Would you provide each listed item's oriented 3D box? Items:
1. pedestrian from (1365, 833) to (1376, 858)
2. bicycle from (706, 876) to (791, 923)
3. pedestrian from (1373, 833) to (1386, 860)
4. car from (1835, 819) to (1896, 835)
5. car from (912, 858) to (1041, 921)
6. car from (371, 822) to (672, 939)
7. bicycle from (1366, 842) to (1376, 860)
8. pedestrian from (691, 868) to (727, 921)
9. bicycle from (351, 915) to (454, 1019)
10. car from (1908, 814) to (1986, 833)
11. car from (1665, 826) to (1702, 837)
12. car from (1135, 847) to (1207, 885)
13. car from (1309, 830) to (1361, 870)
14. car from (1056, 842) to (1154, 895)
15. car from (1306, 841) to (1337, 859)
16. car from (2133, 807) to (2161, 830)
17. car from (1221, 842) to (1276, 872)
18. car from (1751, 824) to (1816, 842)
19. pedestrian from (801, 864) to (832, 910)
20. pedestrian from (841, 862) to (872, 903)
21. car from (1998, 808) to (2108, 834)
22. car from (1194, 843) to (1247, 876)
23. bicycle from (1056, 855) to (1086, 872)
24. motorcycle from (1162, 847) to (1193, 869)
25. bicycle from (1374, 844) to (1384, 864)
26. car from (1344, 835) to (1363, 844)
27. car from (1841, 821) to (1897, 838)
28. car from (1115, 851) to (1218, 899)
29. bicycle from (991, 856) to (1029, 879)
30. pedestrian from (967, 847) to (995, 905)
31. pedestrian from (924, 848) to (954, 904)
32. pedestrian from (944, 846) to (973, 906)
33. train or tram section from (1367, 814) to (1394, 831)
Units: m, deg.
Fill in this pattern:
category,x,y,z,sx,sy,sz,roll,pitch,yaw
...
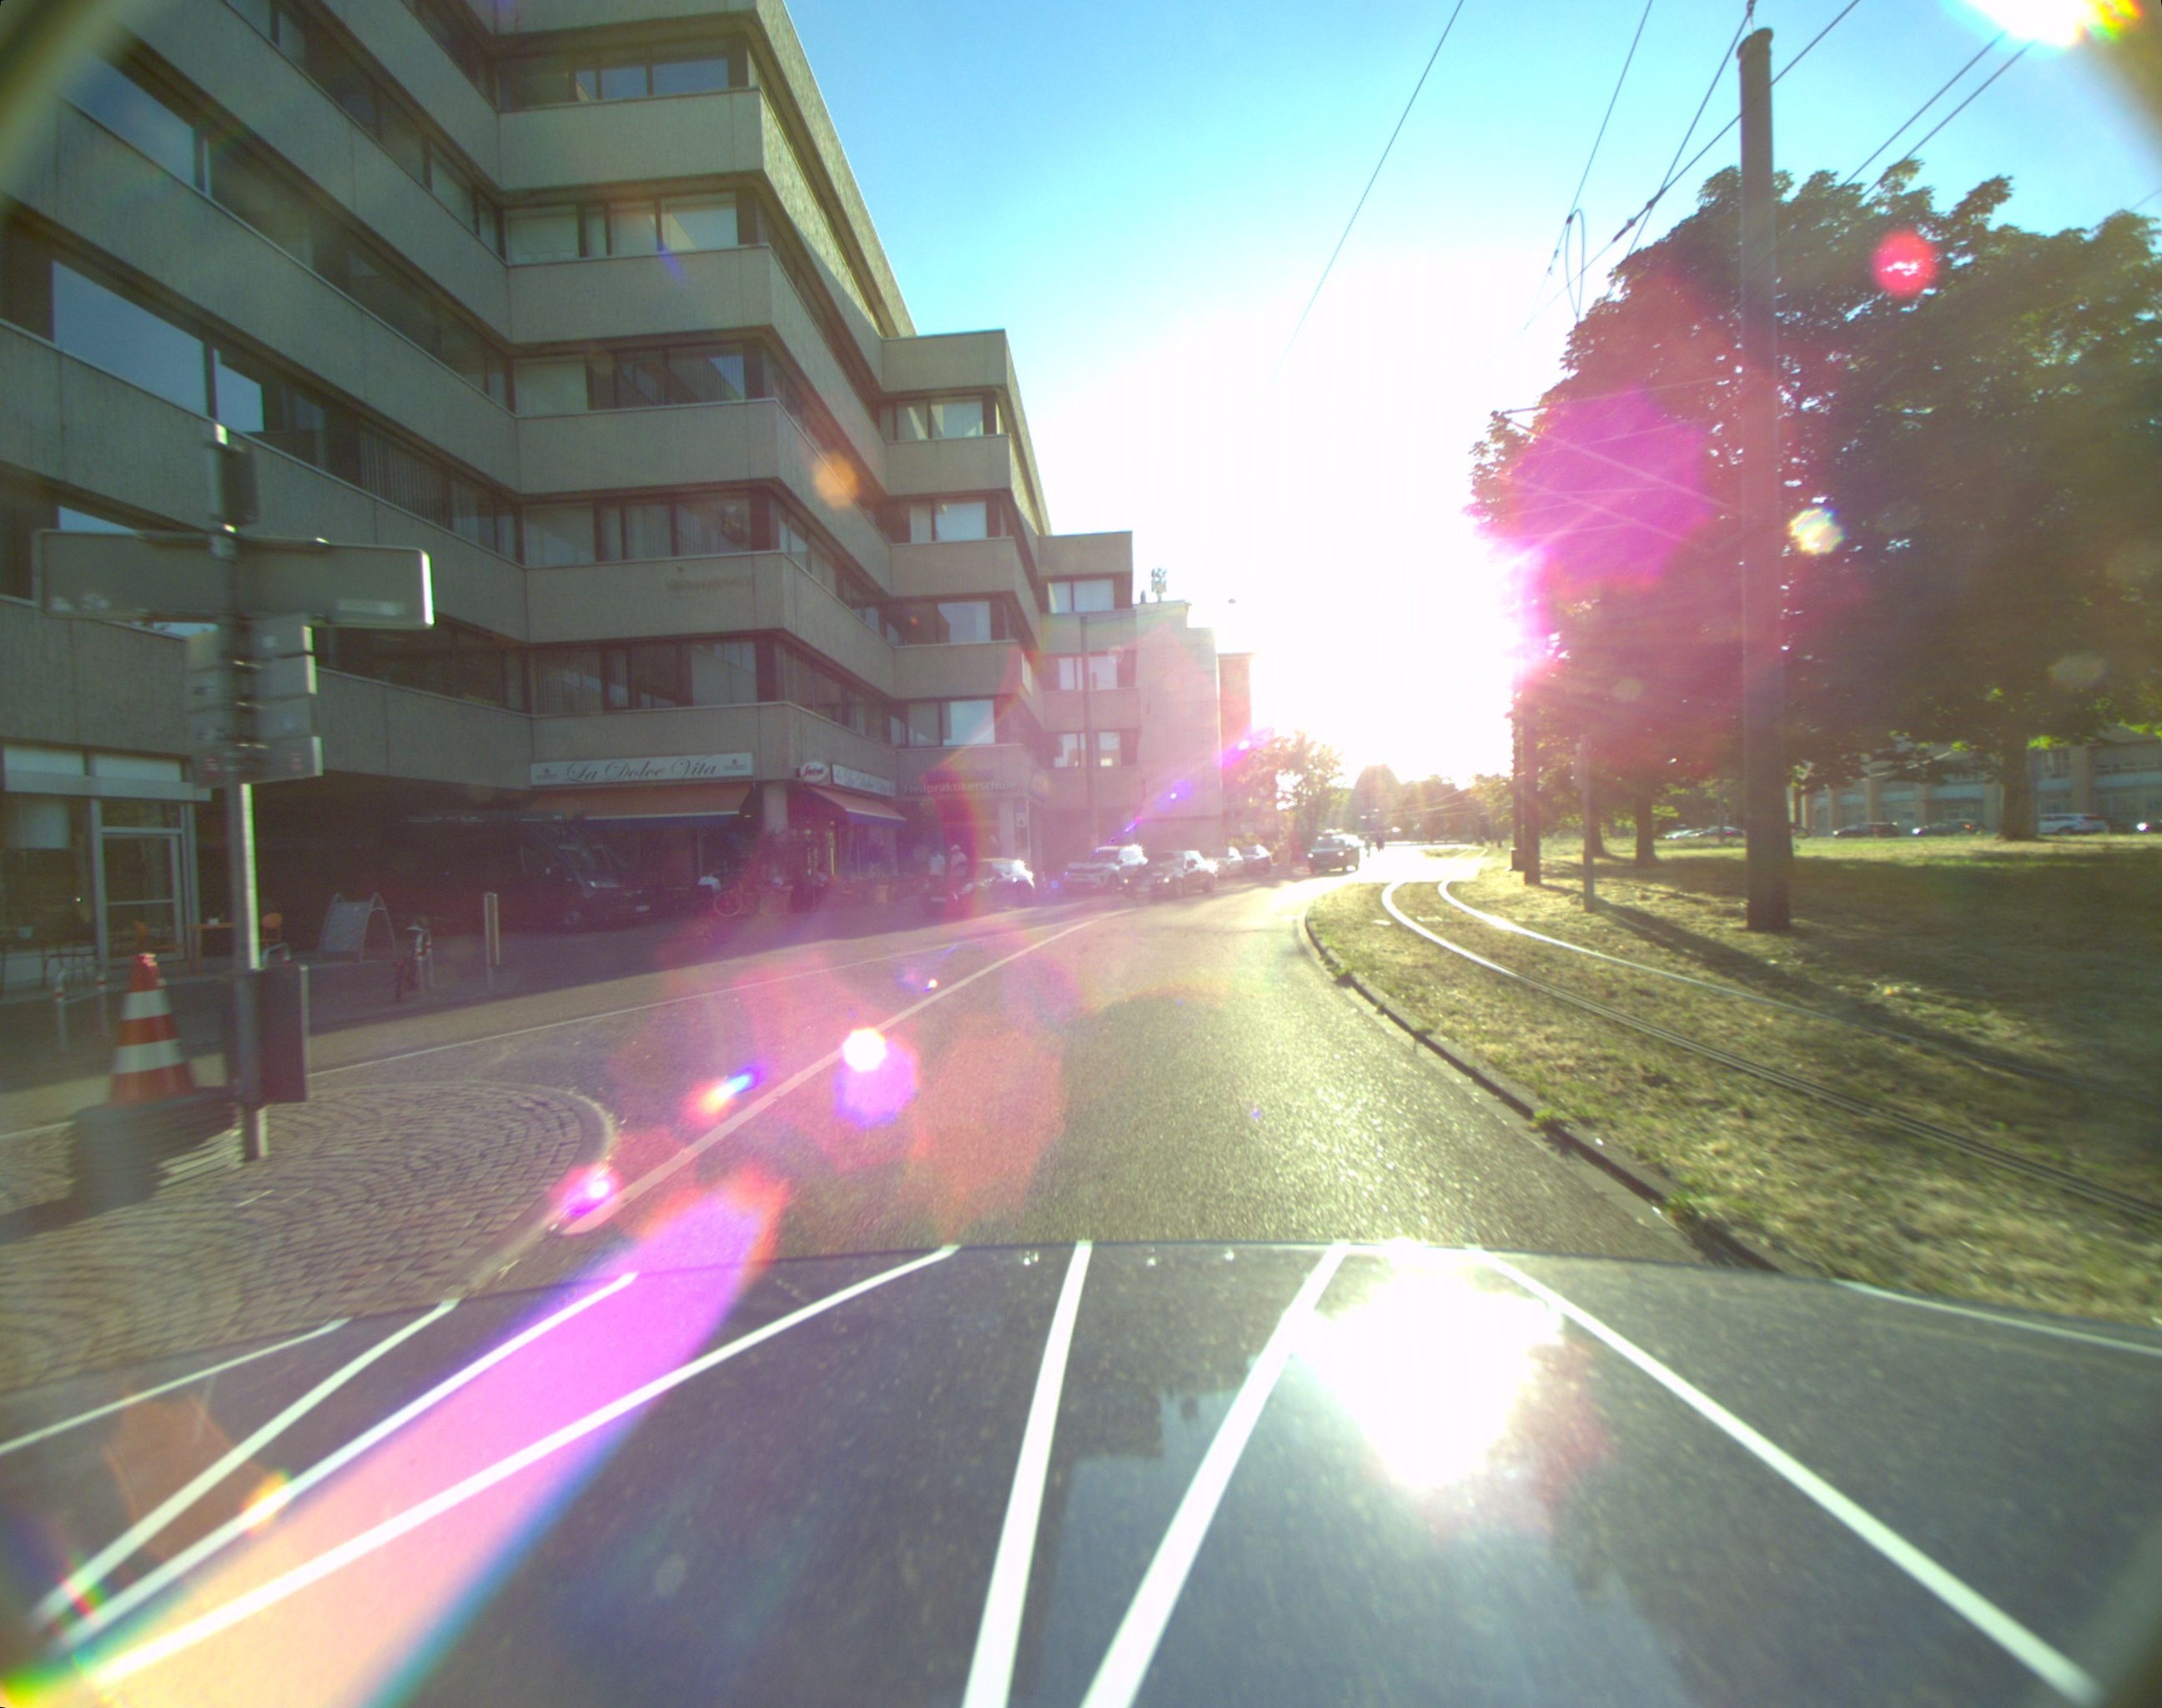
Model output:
category,x,y,z,sx,sy,sz,roll,pitch,yaw
pedestrian,20.438,-0.614,53.696,0.639,1.640,0.844,-3,3,20
bicycle,-8.209,1.116,18.813,1.816,1.113,0.534,0,2,-10
pedestrian,19.081,-0.477,48.546,0.678,1.639,0.903,-3,1,21
car,65.295,-2.214,63.286,1.523,1.147,3.599,-2,0,4
car,-2.779,0.904,21.053,1.663,1.433,3.829,1,2,26
car,-12.588,0.555,17.344,5.328,2.429,2.092,-1,2,4
bicycle,20.457,-0.236,53.578,0.529,1.152,1.851,-4,2,18
pedestrian,-9.425,1.015,19.275,0.553,1.274,0.653,-1,2,2
bicycle,-8.977,1.448,10.117,0.613,1.113,1.603,-1,2,-27
car,64.703,-2.269,56.870,1.650,1.274,3.740,-2,0,3
car,89.295,-3.293,112.648,3.995,1.412,1.903,-2,1,6
car,3.917,0.464,32.604,1.663,1.433,3.861,1,2,30
car,13.791,-0.284,41.077,1.916,1.978,4.955,-2,1,27
car,1.000,0.454,28.114,1.868,1.704,4.512,1,2,27
car,20.615,-0.394,65.016,1.729,1.464,3.906,1,2,30
car,67.211,-2.250,46.165,1.554,1.346,3.520,-3,0,-3
car,9.339,0.129,42.227,1.783,1.548,4.241,1,2,30
car,65.841,-1.977,71.341,1.893,1.472,4.783,-3,0,4
pedestrian,-7.751,0.954,22.260,0.652,1.274,0.662,-1,2,-1
pedestrian,-7.180,0.912,24.339,0.768,1.274,0.662,-1,2,1
car,64.495,-2.143,50.551,1.775,1.474,4.309,-2,0,0
car,7.060,0.230,38.191,1.608,1.548,3.616,1,2,28
bicycle,-0.639,0.602,49.177,1.866,1.068,0.484,0,1,16
motorcycle,5.865,0.260,46.130,1.784,1.324,0.584,0,2,17
bicycle,19.120,-0.015,48.687,0.529,1.152,1.851,-3,2,22
car,48.182,-2.581,134.320,1.842,1.392,4.584,-5,0,3
car,73.174,-2.280,70.649,1.553,1.346,3.521,-3,0,1
car,2.886,0.638,24.822,1.772,1.300,4.247,-2,1,30
bicycle,-3.463,0.635,36.969,1.759,1.066,0.483,-1,1,-10
pedestrian,-3.088,0.677,23.504,0.579,1.750,0.663,1,3,30
pedestrian,-4.546,0.686,24.316,0.622,1.730,0.663,1,3,30
pedestrian,-3.885,0.676,24.075,0.622,1.848,0.663,1,3,30
train or tram section,67.761,-7.101,172.140,2.779,3.515,10.573,-2,1,5
